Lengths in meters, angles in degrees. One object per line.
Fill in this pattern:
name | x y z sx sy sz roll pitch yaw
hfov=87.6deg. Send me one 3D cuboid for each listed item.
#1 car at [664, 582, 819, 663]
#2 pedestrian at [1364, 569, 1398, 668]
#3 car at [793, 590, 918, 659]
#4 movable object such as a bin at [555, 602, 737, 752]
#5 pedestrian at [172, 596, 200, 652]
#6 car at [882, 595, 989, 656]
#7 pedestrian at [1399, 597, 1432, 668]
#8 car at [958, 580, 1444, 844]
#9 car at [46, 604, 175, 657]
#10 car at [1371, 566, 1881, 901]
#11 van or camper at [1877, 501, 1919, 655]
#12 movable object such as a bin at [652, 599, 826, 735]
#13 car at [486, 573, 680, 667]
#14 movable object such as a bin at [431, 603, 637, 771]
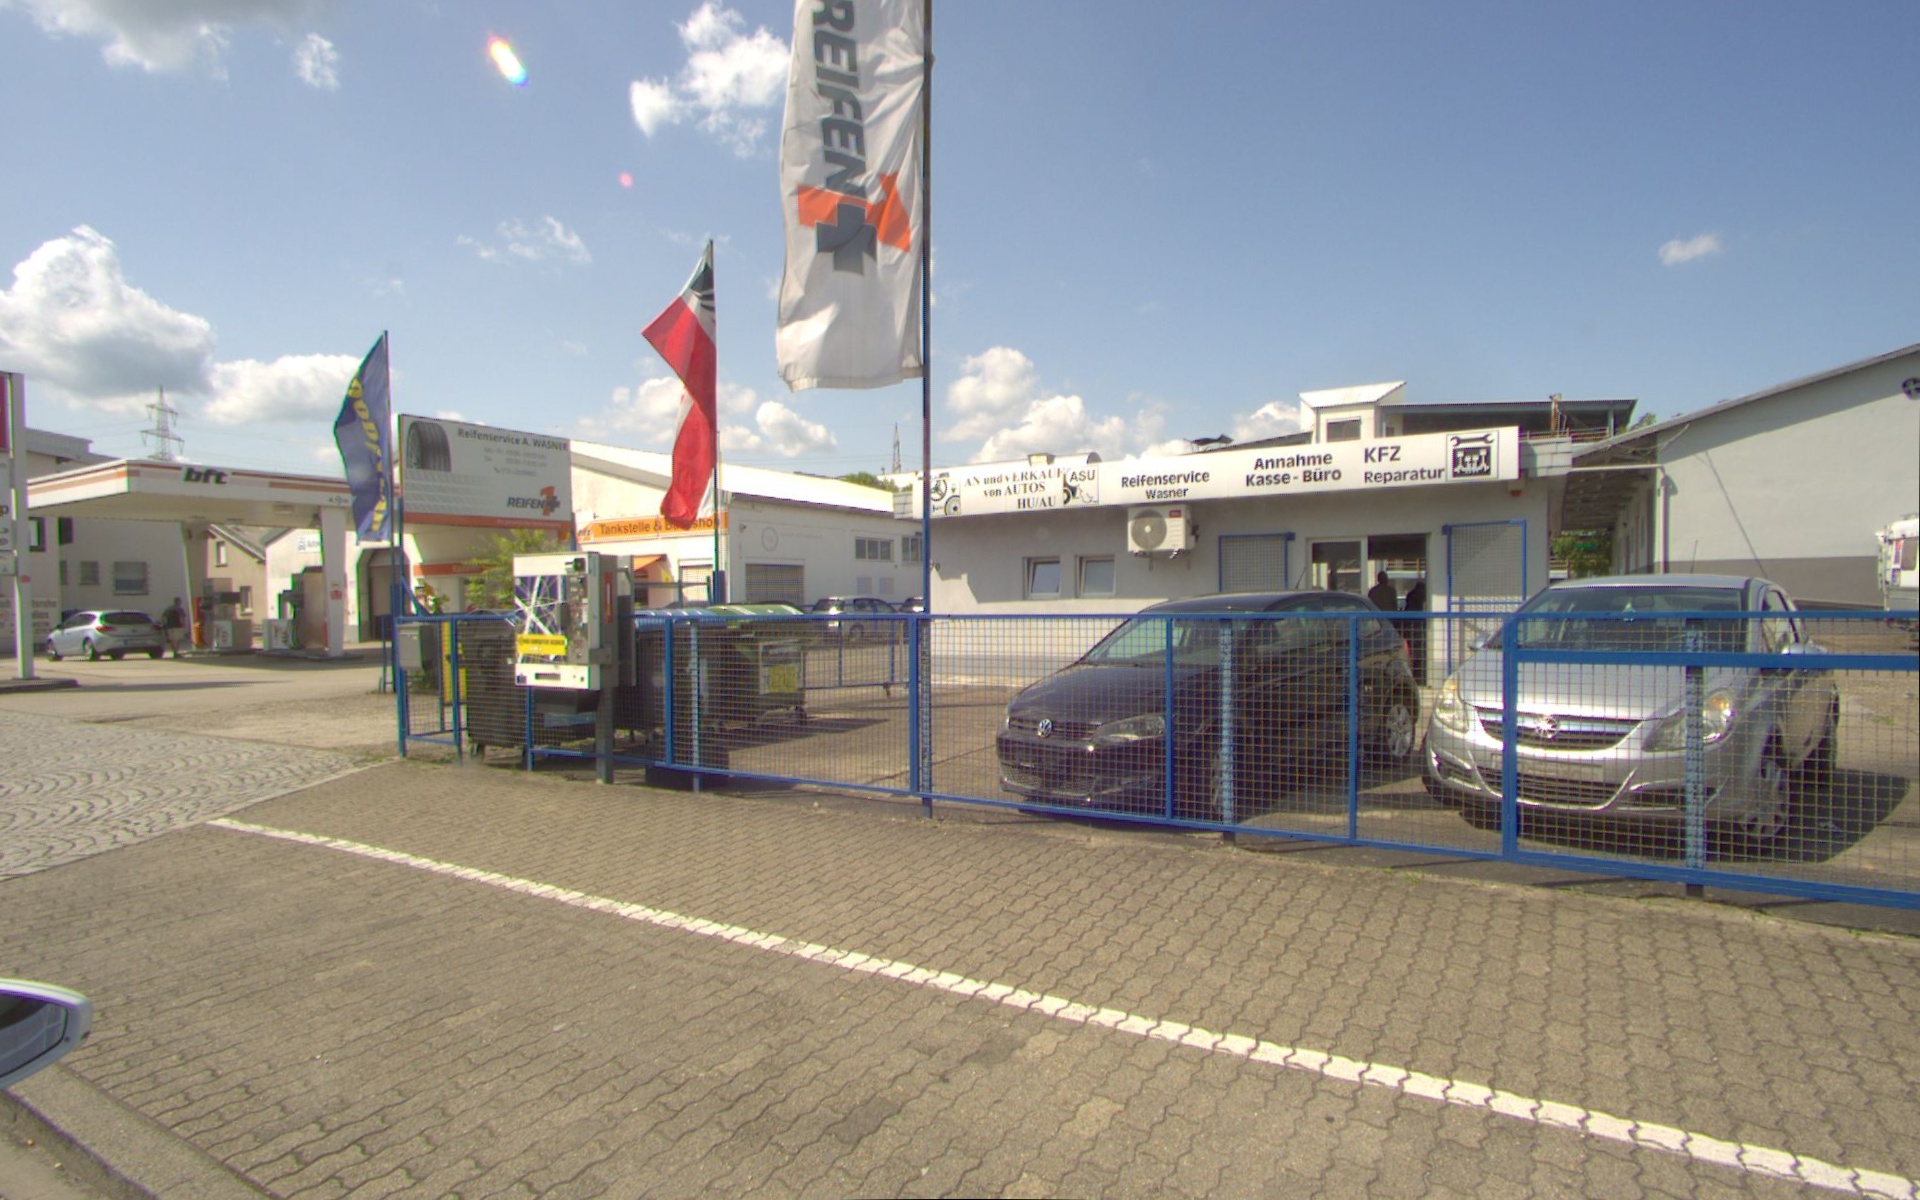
car | -5.946 0.568 27.637 1.971 2.040 3.979 0 0 32
pedestrian | 7.394 0.321 17.582 0.480 1.710 0.499 0 1 30
car | -3.263 0.724 31.989 1.971 2.040 3.979 0 0 32
movable object such as a bin | -3.369 0.771 10.786 1.434 1.473 1.224 0 1 31
pedestrian | -23.738 0.726 30.716 0.628 1.705 0.618 -1 1 -36
car | -0.803 0.860 35.878 1.971 2.040 3.979 0 0 32
pedestrian | 7.981 0.558 17.527 0.480 1.229 0.499 0 1 30
car | 2.017 0.622 7.650 3.962 1.499 1.705 -1 1 -43
car | -25.833 0.886 30.435 3.950 1.499 1.829 -1 1 31
car | 4.504 0.583 6.513 4.104 1.499 1.787 -1 0 -42
van or camper | 21.349 -0.463 19.323 4.983 3.002 2.276 0 1 31
movable object such as a bin | -2.604 0.739 11.901 1.433 1.473 1.427 0 1 31
car | -8.912 0.432 23.983 1.971 2.040 3.979 0 0 32
movable object such as a bin | -4.130 0.780 9.746 1.434 1.473 1.224 0 1 31
